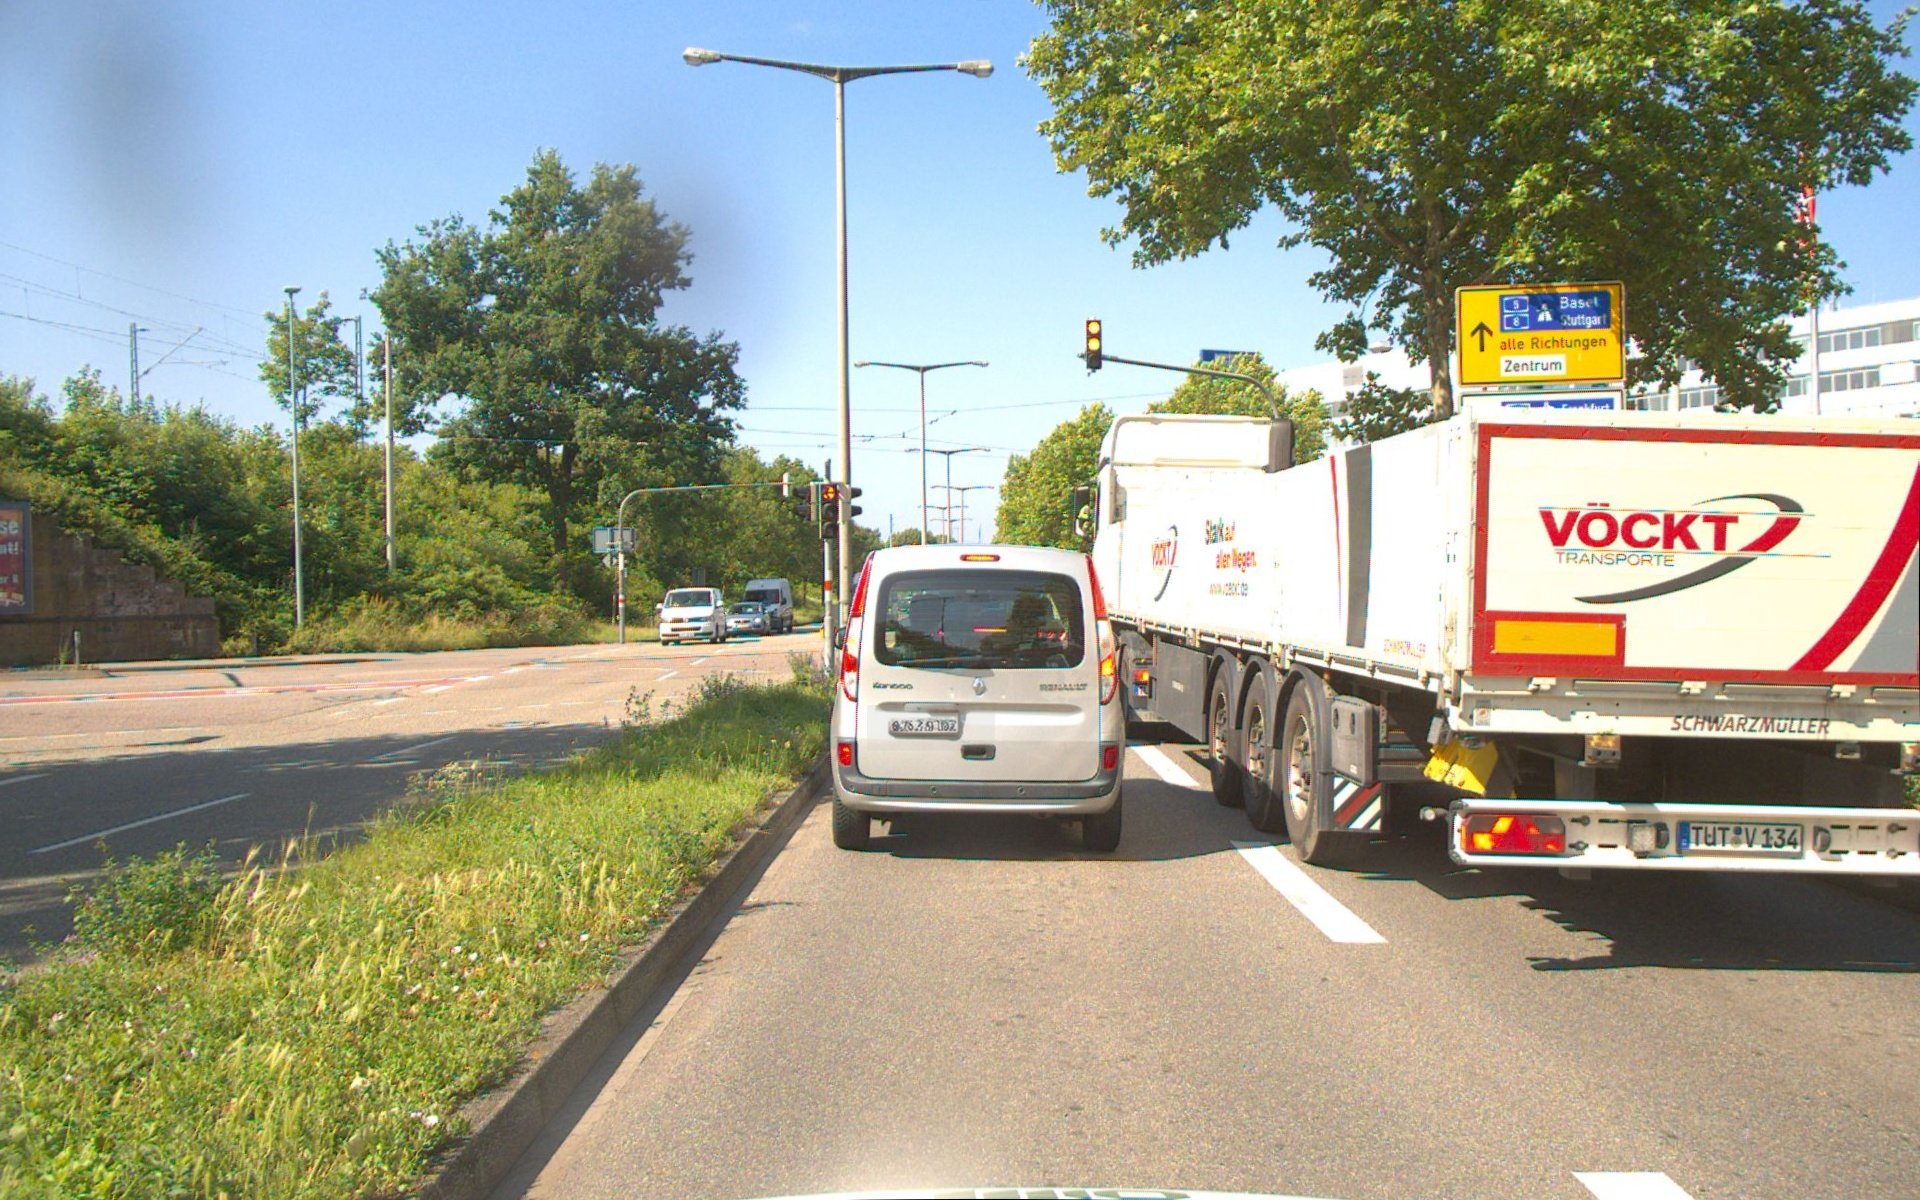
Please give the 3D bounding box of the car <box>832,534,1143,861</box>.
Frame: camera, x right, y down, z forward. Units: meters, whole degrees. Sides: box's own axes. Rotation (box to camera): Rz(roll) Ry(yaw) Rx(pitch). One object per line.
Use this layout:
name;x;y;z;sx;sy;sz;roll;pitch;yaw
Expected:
car;0.136;0.546;11.123;1.713;1.803;3.949;0;0;-1

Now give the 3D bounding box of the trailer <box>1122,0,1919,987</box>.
trailer;3.275;-0.457;12.273;2.954;3.806;12.239;0;0;0

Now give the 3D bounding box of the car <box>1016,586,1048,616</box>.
car;4.915;0.077;113.030;1.953;2.049;3.999;0;0;-1

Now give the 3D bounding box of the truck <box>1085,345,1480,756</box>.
truck;3.299;-0.451;19.162;3.009;3.824;7.474;0;0;-1

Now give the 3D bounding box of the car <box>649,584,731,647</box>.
car;-9.100;0.512;56.118;1.953;1.924;4.986;-3;0;-1

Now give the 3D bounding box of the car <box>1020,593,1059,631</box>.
car;4.469;0.674;93.094;1.953;2.049;3.999;0;0;-1

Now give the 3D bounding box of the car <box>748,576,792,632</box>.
car;-9.271;0.191;80.996;2.019;2.660;5.861;0;0;-6

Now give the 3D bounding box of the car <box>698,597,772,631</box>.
car;-9.614;0.580;70.568;1.888;1.433;4.190;0;0;-27
